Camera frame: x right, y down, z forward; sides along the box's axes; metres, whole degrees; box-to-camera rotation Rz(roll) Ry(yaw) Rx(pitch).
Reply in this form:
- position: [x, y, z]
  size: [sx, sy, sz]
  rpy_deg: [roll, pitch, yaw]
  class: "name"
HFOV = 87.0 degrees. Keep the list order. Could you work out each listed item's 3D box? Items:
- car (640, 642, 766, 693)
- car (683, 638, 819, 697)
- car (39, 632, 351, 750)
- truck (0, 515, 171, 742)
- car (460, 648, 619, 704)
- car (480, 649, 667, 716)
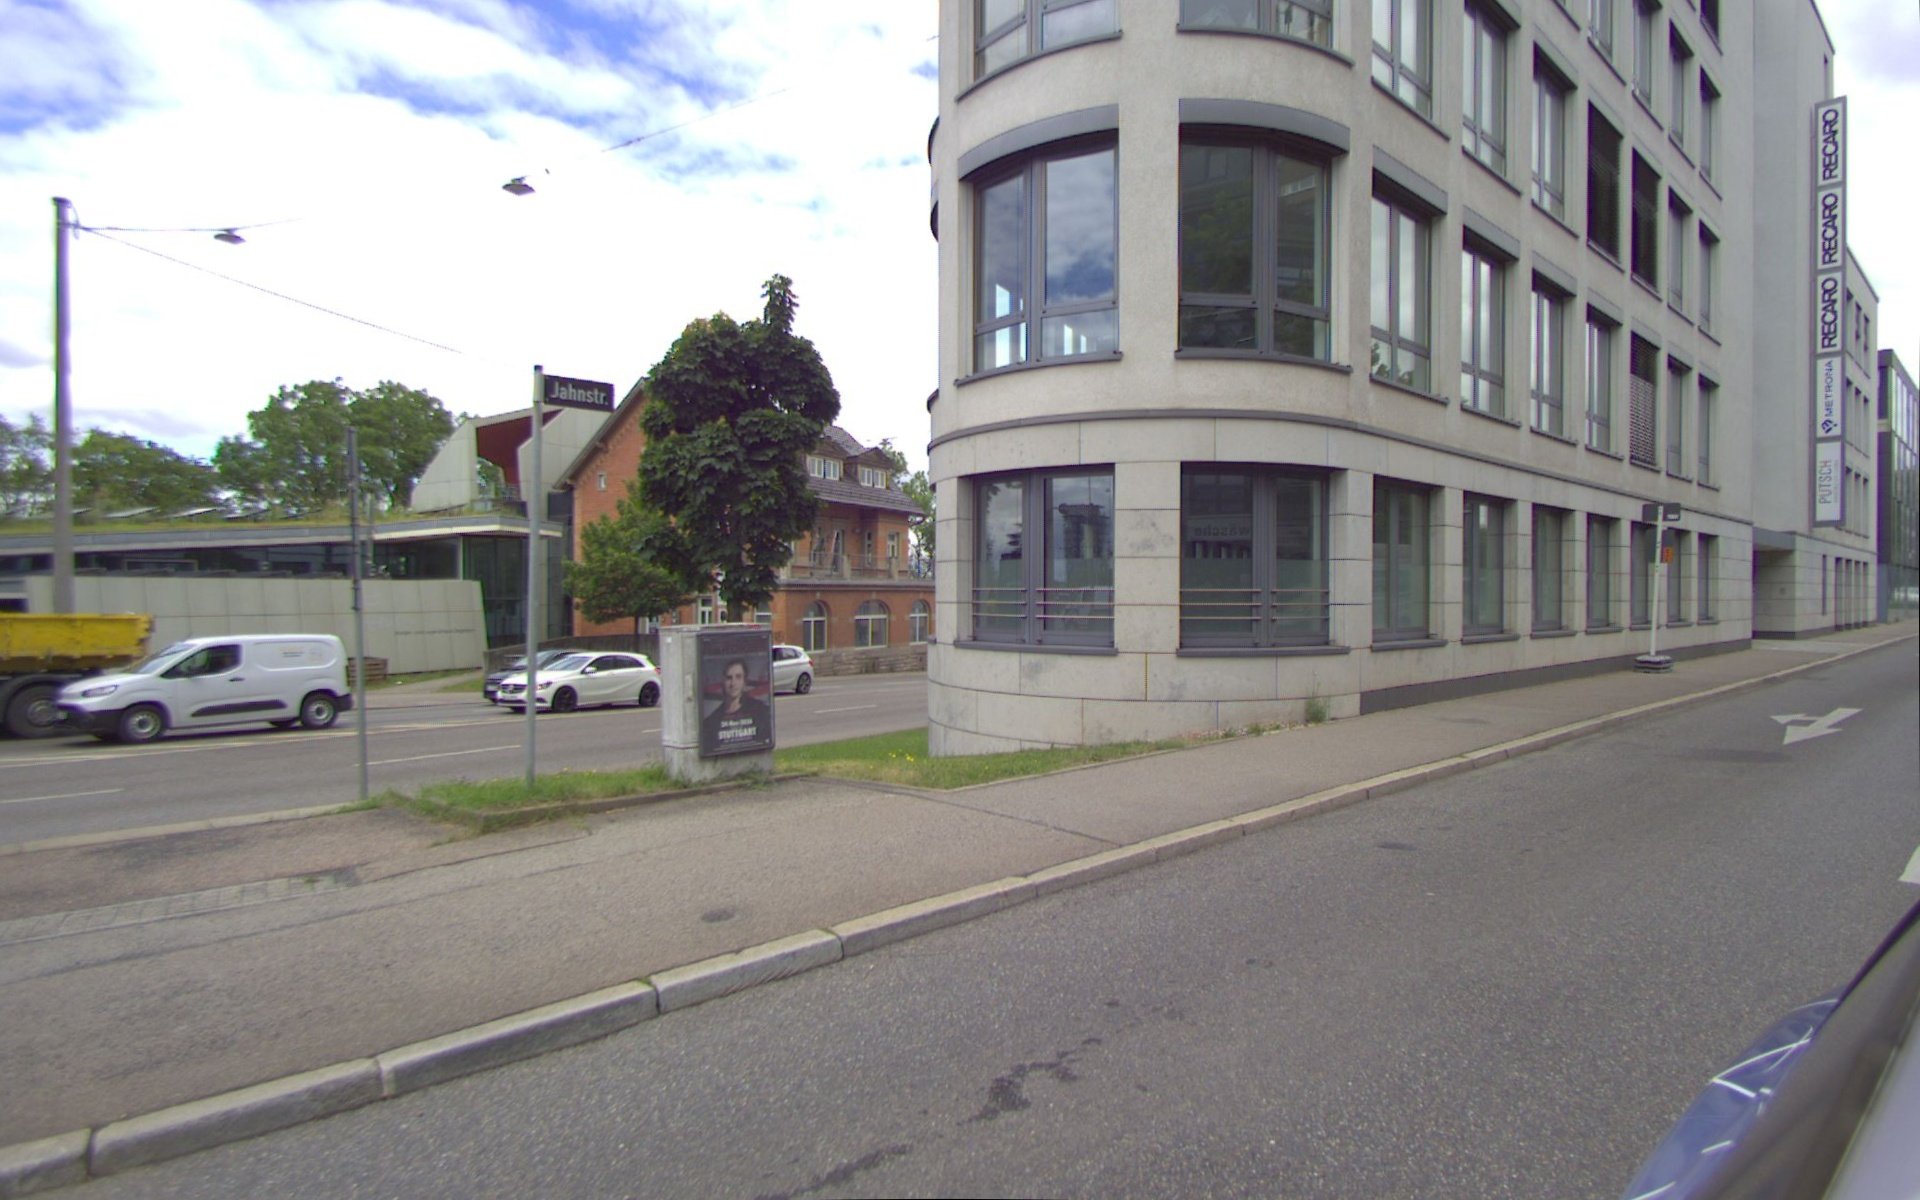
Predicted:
- position: [-8.399, 2.167, 33.368]
  size: [1.674, 1.459, 3.936]
  rpy_deg: [-2, -2, 33]
  class: "car"
- position: [-6.315, 2.022, 31.075]
  size: [1.721, 1.588, 4.281]
  rpy_deg: [-3, -3, 29]
  class: "car"
- position: [-13.806, 1.543, 18.537]
  size: [1.743, 1.820, 4.236]
  rpy_deg: [-2, -2, 33]
  class: "car"
- position: [-19.209, 0.535, 16.761]
  size: [2.810, 3.975, 9.339]
  rpy_deg: [-2, -1, 35]
  class: "truck"
- position: [-11.798, 2.084, 28.619]
  size: [1.674, 1.350, 3.936]
  rpy_deg: [-2, -2, 33]
  class: "car"
- position: [-9.462, 1.971, 25.120]
  size: [1.740, 1.394, 4.243]
  rpy_deg: [-2, -2, 29]
  class: "car"
